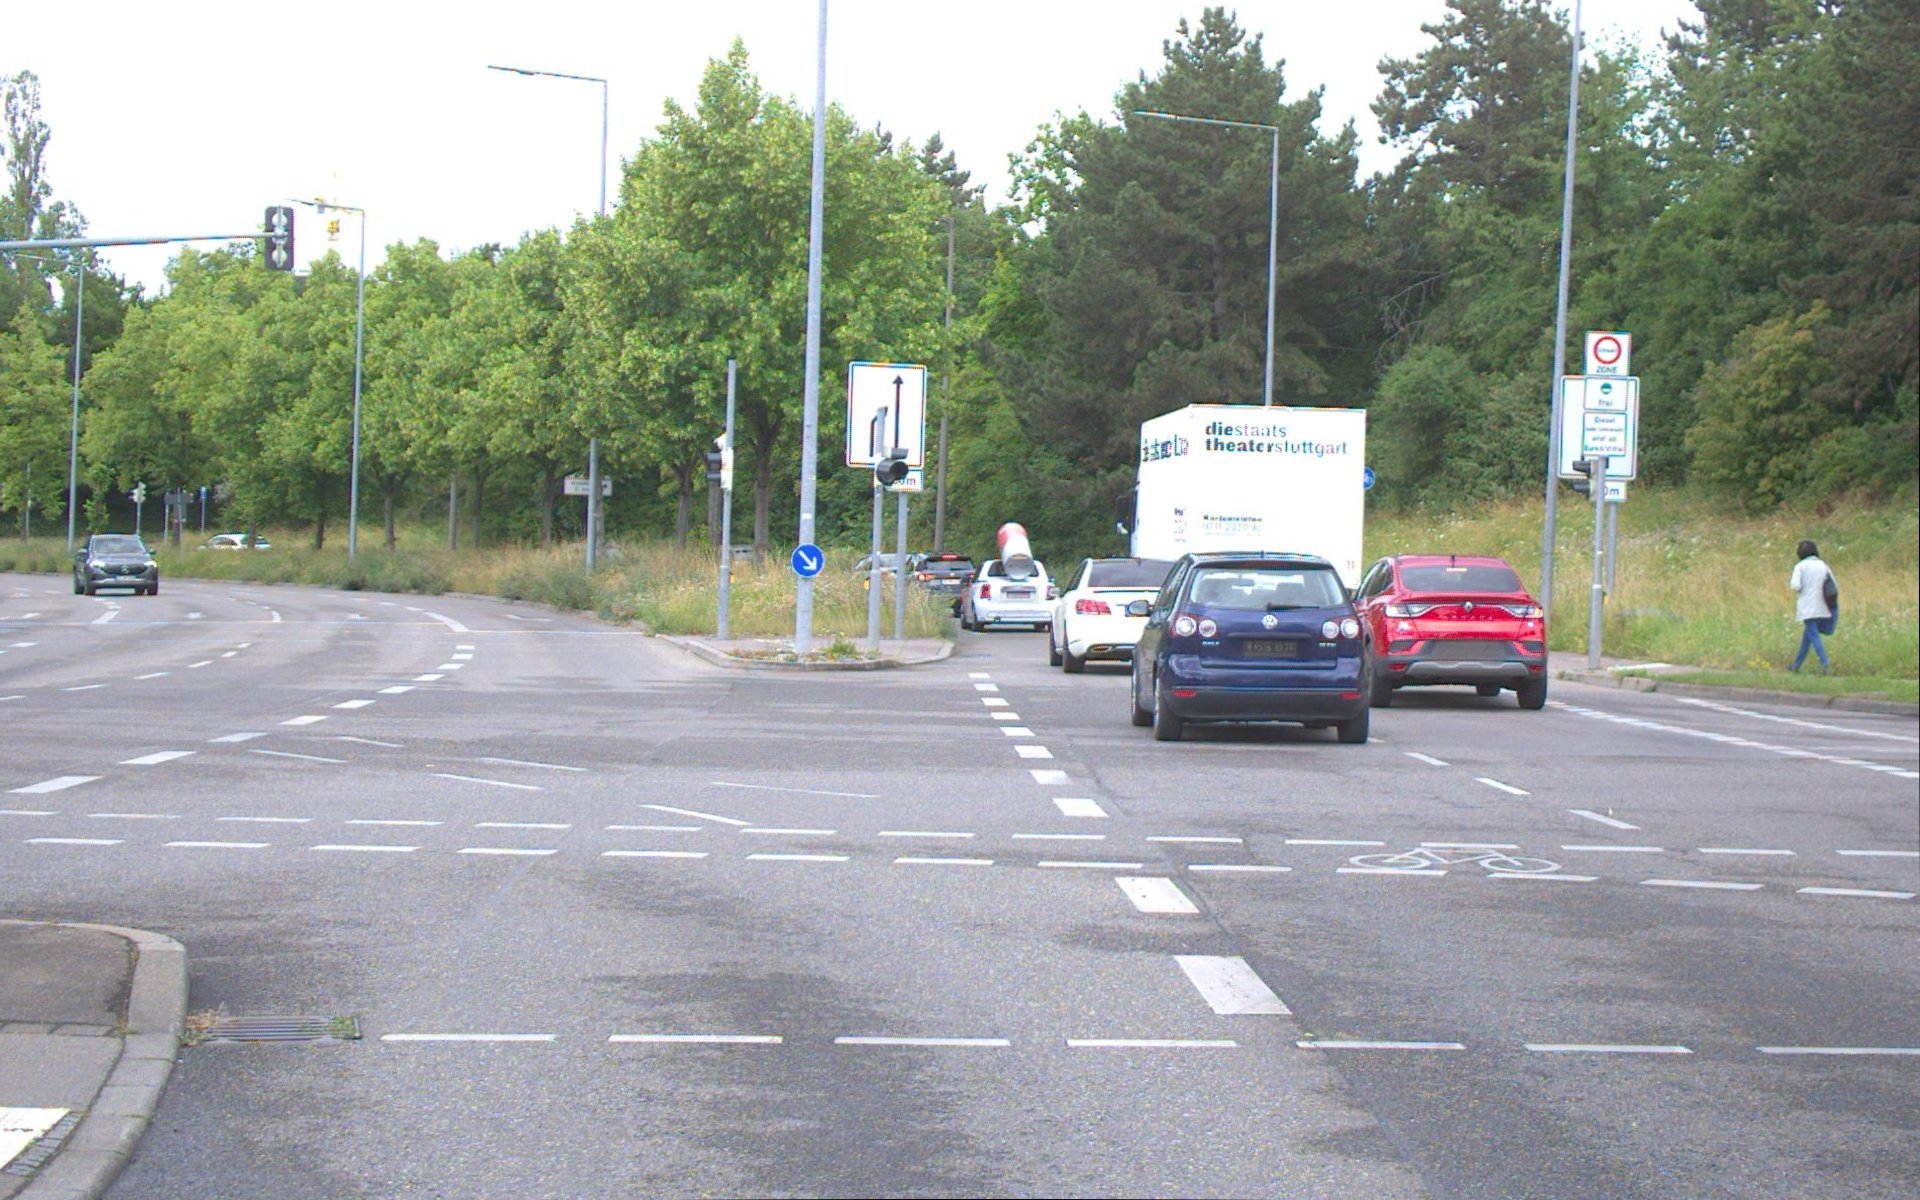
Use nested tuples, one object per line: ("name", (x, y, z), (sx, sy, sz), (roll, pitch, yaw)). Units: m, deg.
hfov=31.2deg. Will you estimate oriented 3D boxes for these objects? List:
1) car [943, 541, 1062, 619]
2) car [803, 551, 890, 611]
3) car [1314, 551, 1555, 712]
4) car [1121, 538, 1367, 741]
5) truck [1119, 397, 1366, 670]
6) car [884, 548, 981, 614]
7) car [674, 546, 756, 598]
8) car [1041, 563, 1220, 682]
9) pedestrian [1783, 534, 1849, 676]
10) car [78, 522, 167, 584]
("car", (0.805, -0.404, 68.087), (1.820, 1.501, 3.495), (1, 0, -8))
("car", (-2.981, -0.520, 89.874), (1.583, 1.488, 3.445), (1, 1, -14))
("car", (4.904, 0.279, 36.061), (1.847, 1.525, 4.377), (1, 1, -1))
("car", (2.346, 0.296, 29.244), (1.664, 1.593, 3.997), (1, 0, -1))
("truck", (4.294, -1.076, 54.487), (2.802, 3.890, 10.183), (1, 1, -1))
("car", (-0.677, -0.476, 81.711), (1.623, 1.488, 3.838), (1, 1, -11))
("car", (-7.461, -0.864, 104.499), (1.746, 1.503, 4.049), (1, 1, -15))
("car", (2.104, 0.252, 43.520), (1.799, 1.407, 4.318), (1, 0, -3))
("pedestrian", (10.150, 0.055, 40.795), (0.644, 1.656, 0.713), (1, 0, 6))
("car", (-22.059, -1.230, 90.495), (1.794, 1.582, 4.001), (1, 0, -21))
